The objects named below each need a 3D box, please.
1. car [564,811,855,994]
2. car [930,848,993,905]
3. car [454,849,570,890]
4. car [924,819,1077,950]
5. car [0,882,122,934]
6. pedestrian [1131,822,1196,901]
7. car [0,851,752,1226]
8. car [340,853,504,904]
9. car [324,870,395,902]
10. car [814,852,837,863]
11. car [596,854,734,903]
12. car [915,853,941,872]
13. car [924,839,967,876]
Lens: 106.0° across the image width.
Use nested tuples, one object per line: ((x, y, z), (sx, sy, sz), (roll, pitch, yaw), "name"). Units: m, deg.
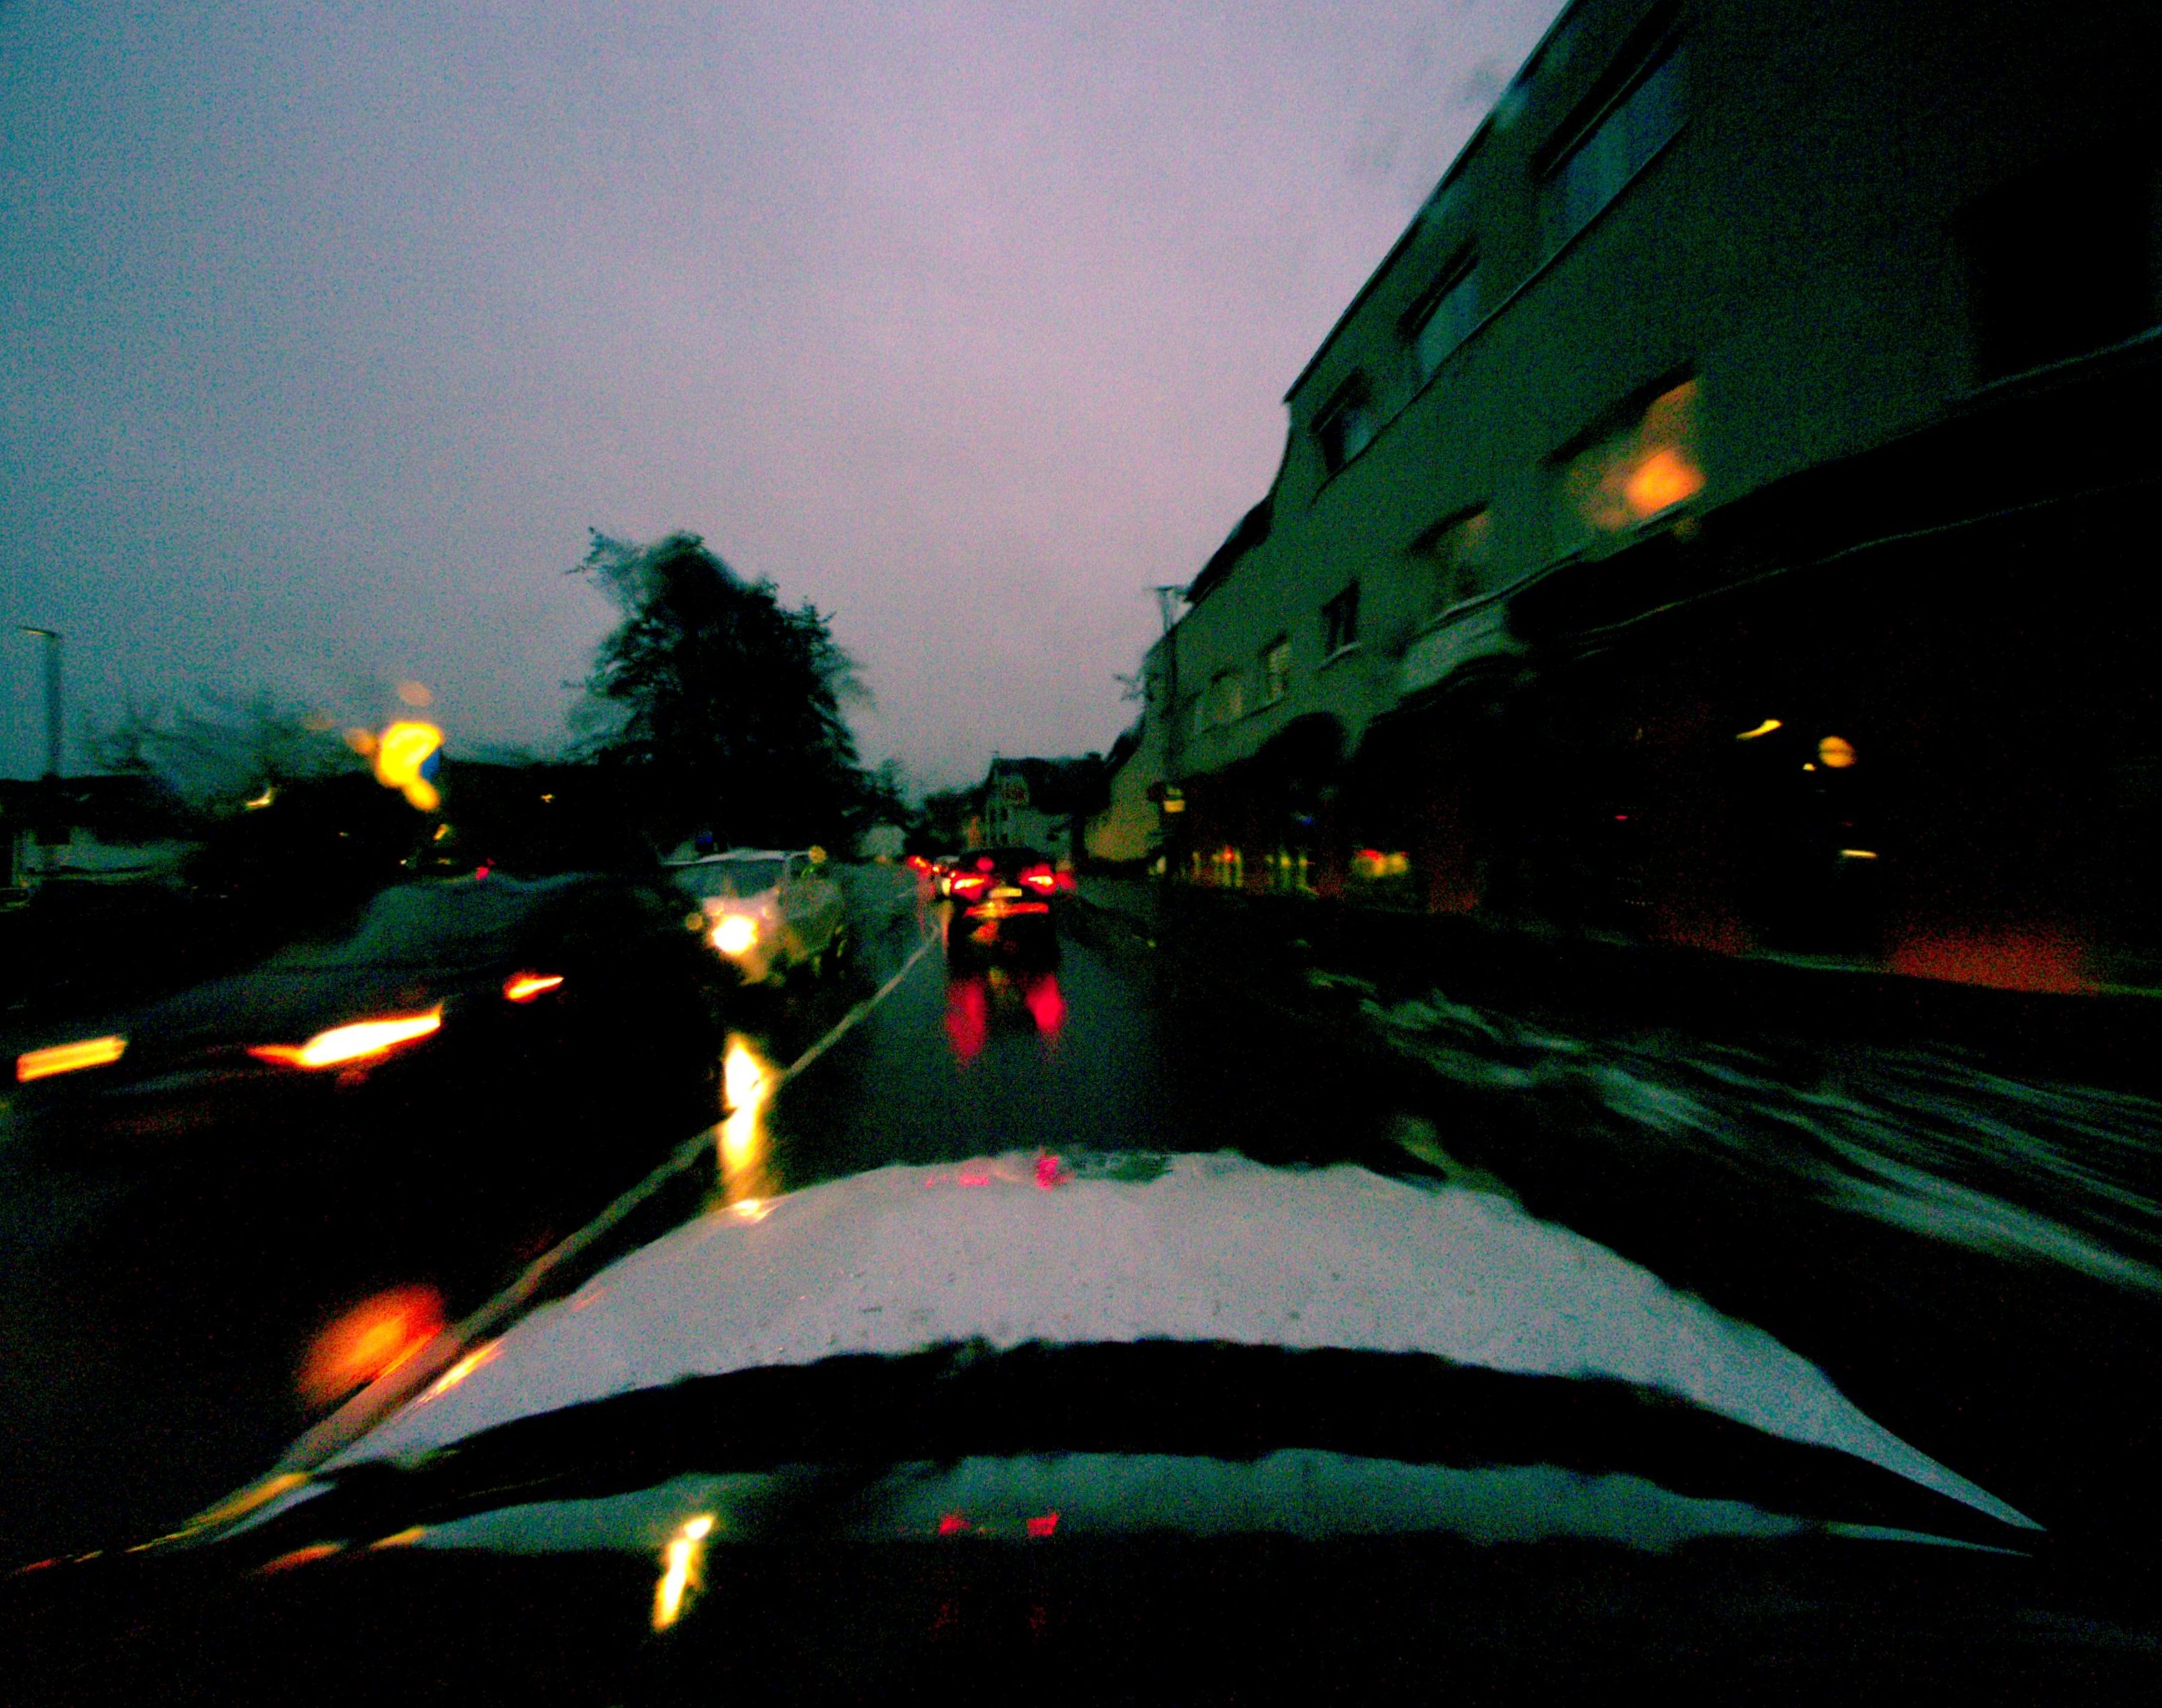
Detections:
((-4.247, 0.444, 10.213), (1.768, 1.723, 4.416), (-2, 1, -3), "car")
((-3.960, 0.670, 26.786), (1.858, 1.647, 3.987), (-2, 1, -10), "car")
((-30.129, 0.772, 43.313), (4.666, 1.976, 2.112), (-1, 1, -23), "car")
((-1.614, 0.471, 15.325), (2.309, 1.938, 5.003), (-3, 0, -9), "car")
((-39.715, 2.019, 31.300), (1.919, 1.616, 3.973), (-1, 2, -20), "car")
((2.091, 0.179, 20.758), (1.254, 1.865, 1.299), (-4, 1, -8), "pedestrian")
((-3.947, 0.785, 5.495), (1.766, 1.495, 4.041), (-2, 1, 0), "car")
((-25.309, 0.890, 31.489), (4.421, 1.671, 1.956), (-3, 2, -19), "car")
((-43.170, 1.892, 48.827), (1.697, 1.639, 3.691), (1, 1, -16), "car")
((-52.949, 0.640, 169.073), (4.268, 2.013, 1.796), (-3, 1, -25), "car")
((-15.051, 0.858, 29.726), (4.240, 1.699, 1.887), (0, 0, -20), "car")
((-12.144, 0.658, 64.612), (1.844, 1.331, 3.920), (-3, 1, -13), "car")
((-7.945, 0.180, 47.687), (2.310, 1.938, 5.001), (-3, 0, -10), "car")
